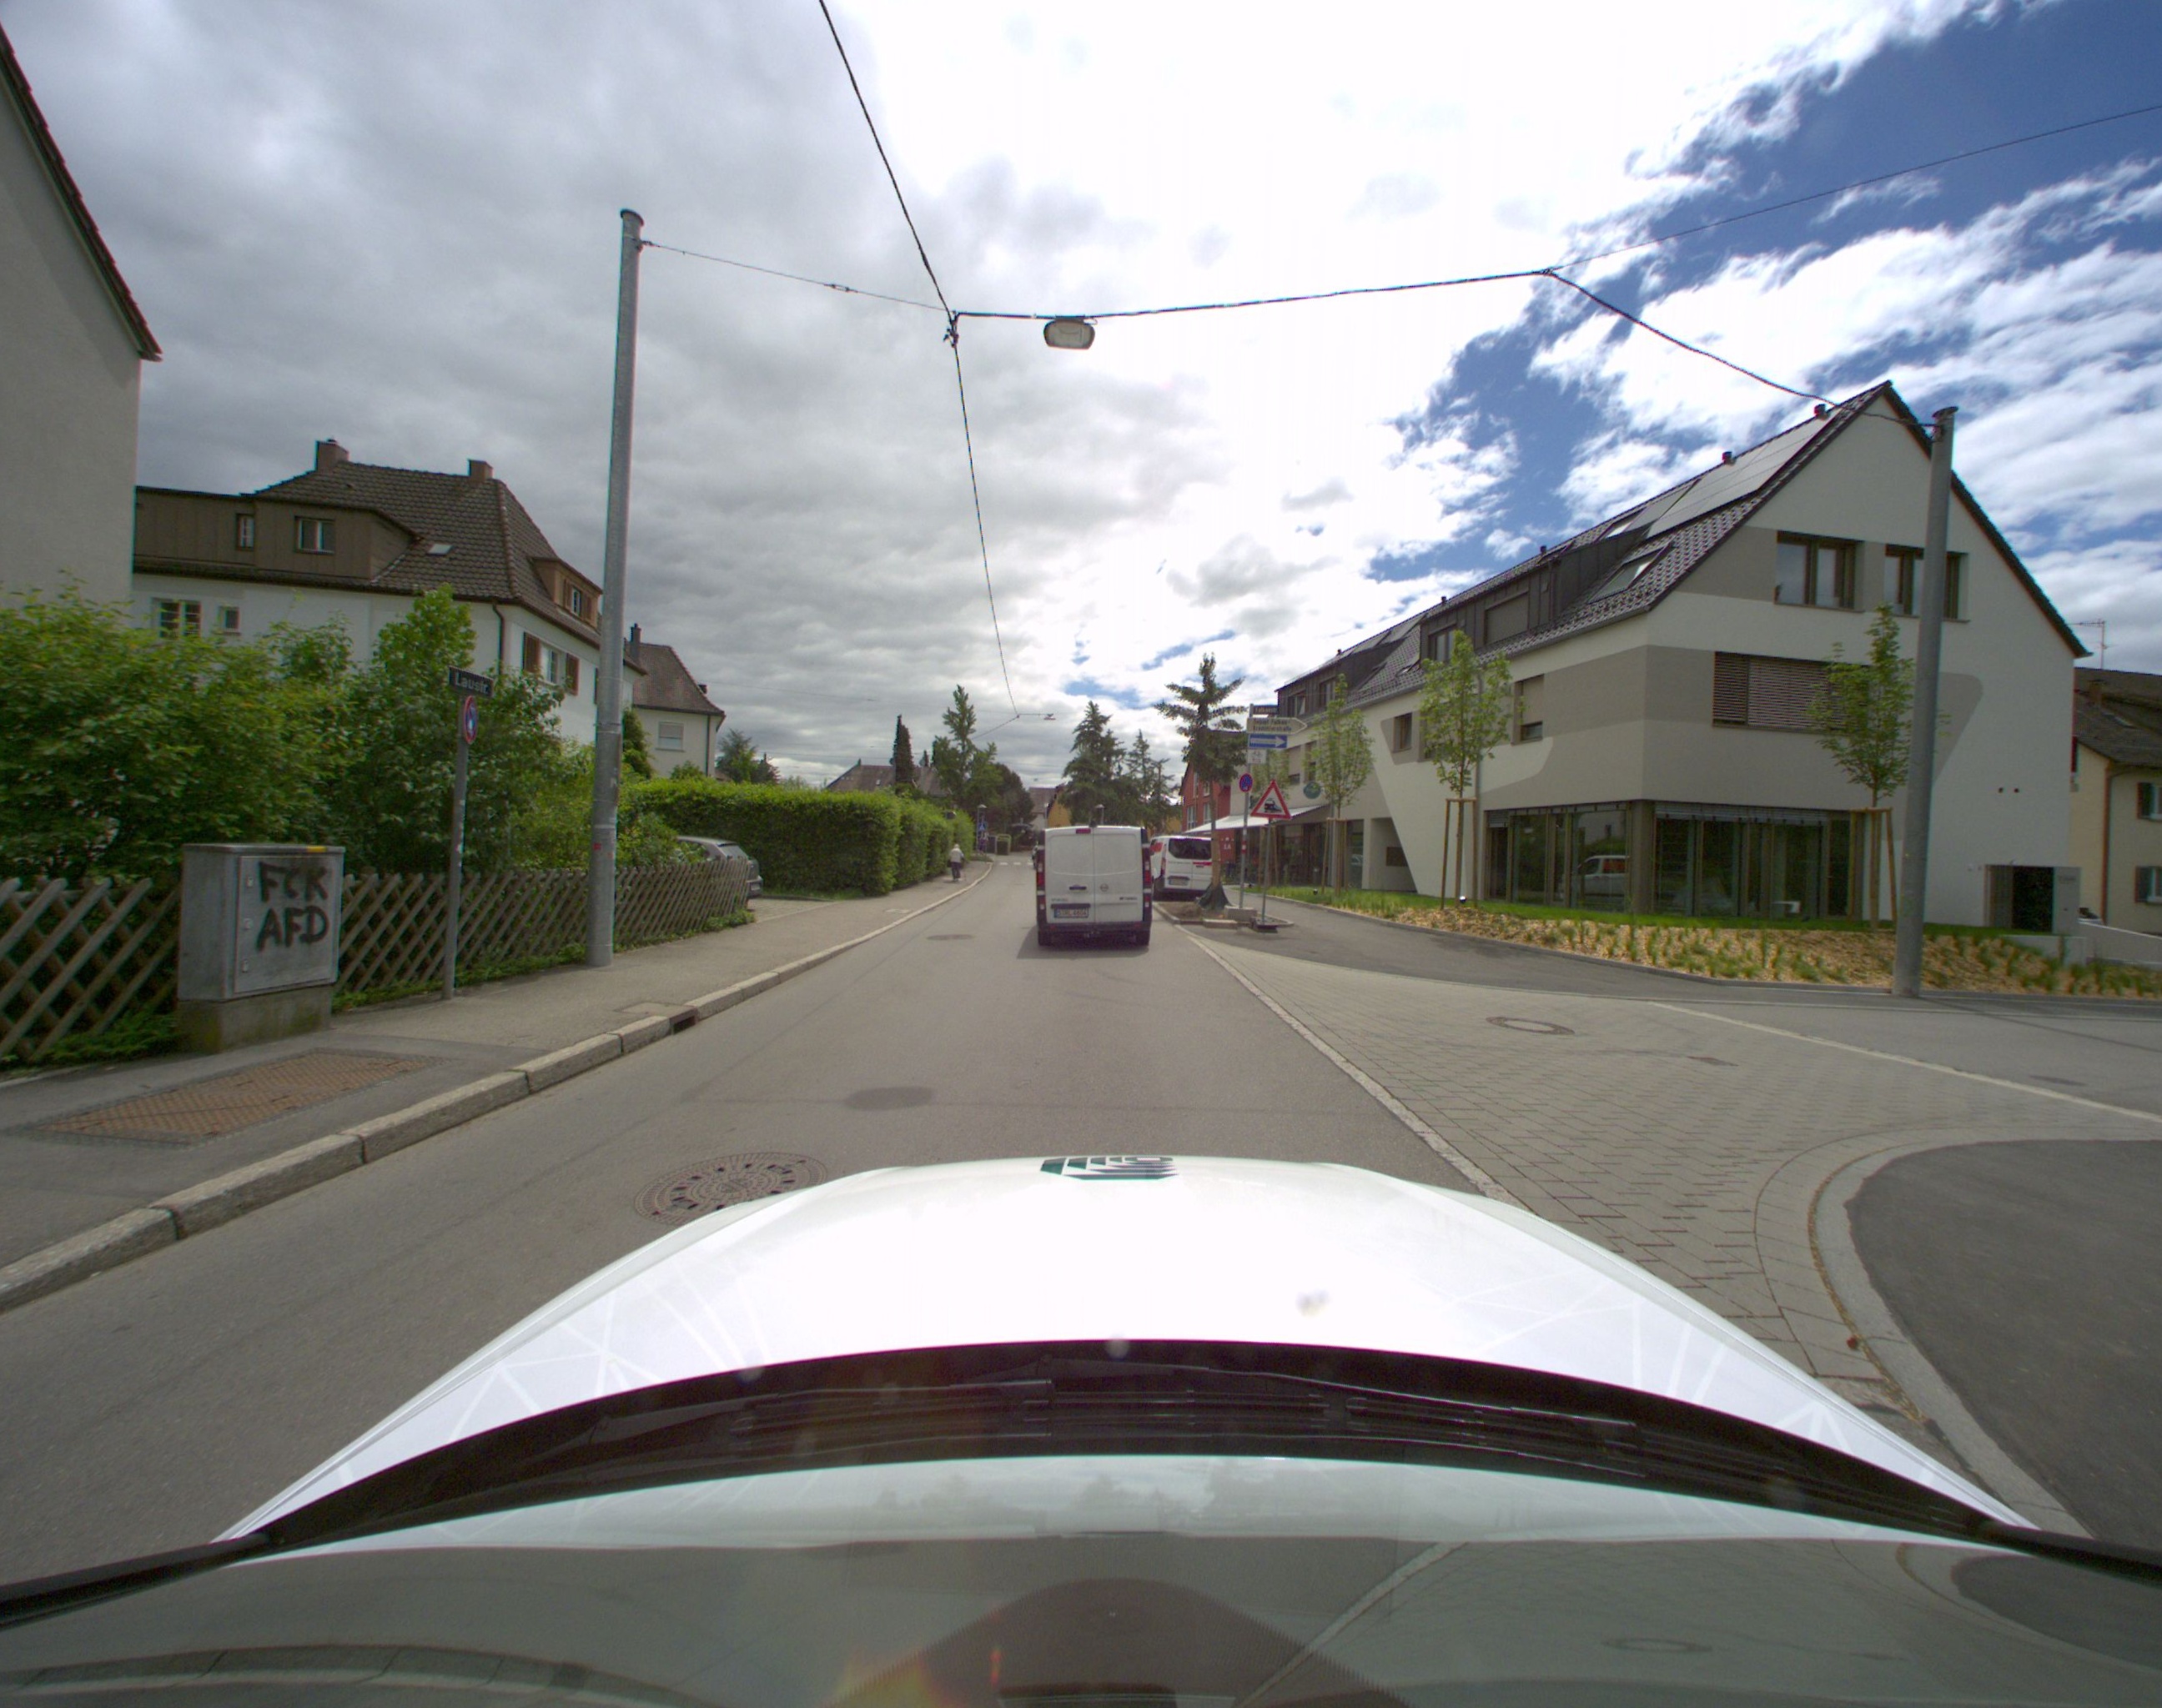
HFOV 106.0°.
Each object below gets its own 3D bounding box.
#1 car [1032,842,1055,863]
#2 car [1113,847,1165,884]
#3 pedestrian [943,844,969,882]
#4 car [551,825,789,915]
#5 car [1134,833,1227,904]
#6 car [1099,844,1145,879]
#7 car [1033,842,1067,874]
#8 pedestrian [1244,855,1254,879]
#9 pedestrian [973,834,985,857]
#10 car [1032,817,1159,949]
[{"bbox_3d":[-3.292,-0.124,71.850,1.989,1.782,3.995,1,0,-3],"label":"car"},{"bbox_3d":[2.620,0.499,37.490,1.739,1.494,3.648,4,0,-6],"label":"car"},{"bbox_3d":[-5.122,0.375,33.397,0.879,1.485,0.452,4,-1,-23],"label":"pedestrian"},{"bbox_3d":[-7.984,0.303,16.111,3.661,1.434,1.816,4,-1,-1],"label":"car"},{"bbox_3d":[3.016,0.436,25.761,1.954,1.916,4.894,4,0,-4],"label":"car"},{"bbox_3d":[2.067,0.345,42.589,1.700,1.614,4.250,4,0,-6],"label":"car"},{"bbox_3d":[-1.915,0.238,50.344,1.989,1.848,3.995,1,0,-3],"label":"car"},{"bbox_3d":[8.378,0.633,40.648,0.420,1.182,0.323,2,-1,-5],"label":"pedestrian"},{"bbox_3d":[-9.276,-0.777,73.995,0.833,2.014,0.677,4,-1,-13],"label":"pedestrian"},{"bbox_3d":[0.145,0.474,14.702,1.911,2.003,4.433,1,-1,-2],"label":"car"}]
